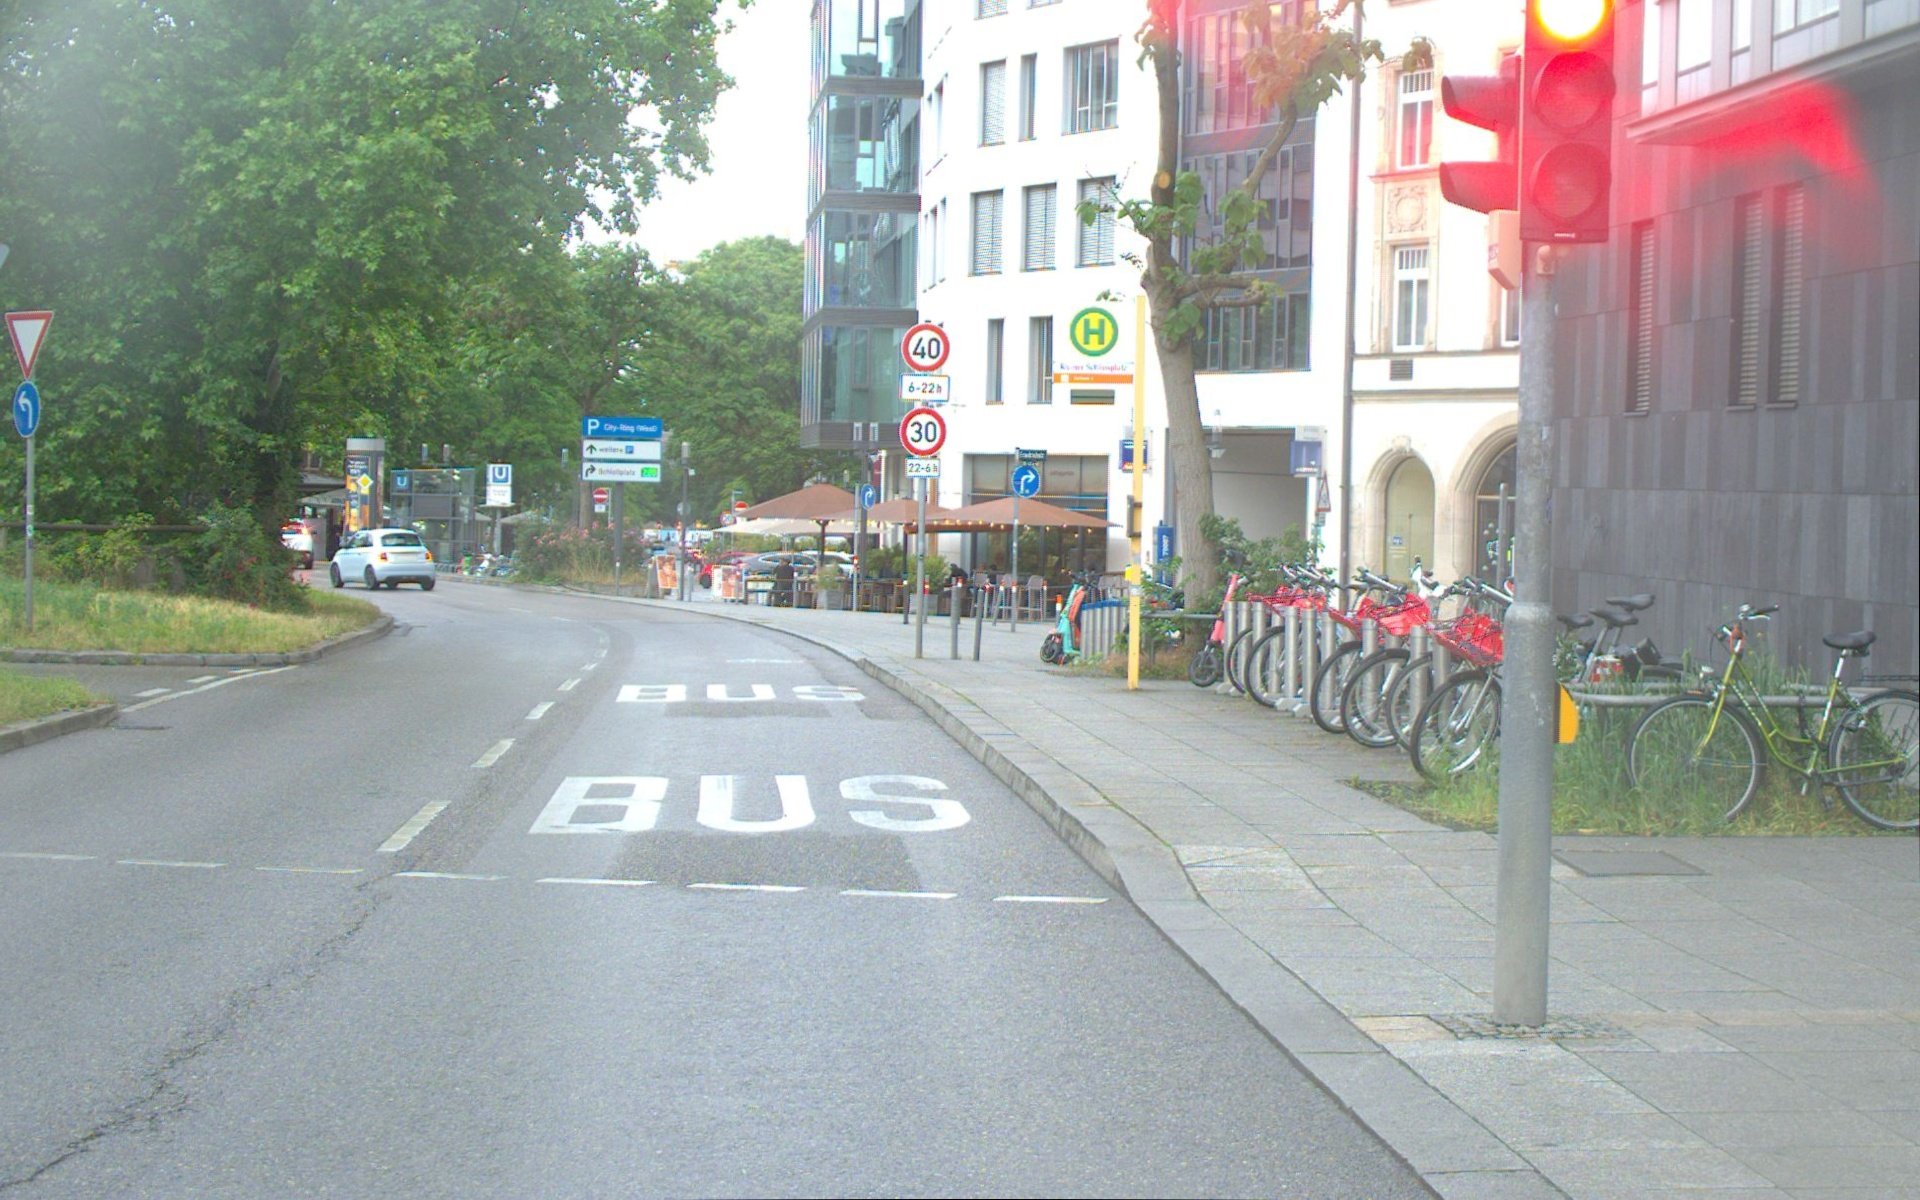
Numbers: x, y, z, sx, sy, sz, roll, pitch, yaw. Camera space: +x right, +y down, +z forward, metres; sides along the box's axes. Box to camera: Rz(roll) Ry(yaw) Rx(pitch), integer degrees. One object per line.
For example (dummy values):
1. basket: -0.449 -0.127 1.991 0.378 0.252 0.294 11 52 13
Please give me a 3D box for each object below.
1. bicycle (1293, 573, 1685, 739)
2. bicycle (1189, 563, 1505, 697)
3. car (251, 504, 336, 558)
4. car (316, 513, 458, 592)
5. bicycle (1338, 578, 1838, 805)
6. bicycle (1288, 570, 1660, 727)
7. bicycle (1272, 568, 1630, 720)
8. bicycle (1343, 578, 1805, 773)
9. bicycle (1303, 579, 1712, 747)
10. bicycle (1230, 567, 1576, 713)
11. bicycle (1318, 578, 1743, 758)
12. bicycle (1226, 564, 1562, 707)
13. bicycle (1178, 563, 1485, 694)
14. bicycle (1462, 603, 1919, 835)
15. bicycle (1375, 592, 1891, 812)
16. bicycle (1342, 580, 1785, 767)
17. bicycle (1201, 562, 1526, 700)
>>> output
1. bicycle: 3.589 0.377 23.415 2.535 1.083 0.677 1 1 -5
2. bicycle: 3.229 0.244 28.817 2.535 1.083 0.677 1 1 -5
3. car: -21.863 -2.274 112.705 2.178 1.695 4.001 1 1 -19
4. car: -14.526 -1.221 87.022 1.993 1.641 4.001 5 1 -33
5. bicycle: 3.407 0.490 18.749 2.535 1.083 0.677 3 1 -5
6. bicycle: 3.667 0.342 24.611 2.535 1.083 0.677 1 1 -5
7. bicycle: 3.644 0.323 25.590 2.535 1.083 0.677 1 1 -5
8. bicycle: 3.552 0.434 19.974 2.535 1.083 0.677 1 1 -5
9. bicycle: 3.570 0.408 22.506 2.535 1.056 0.677 1 1 -5
10. bicycle: 3.394 0.304 26.429 2.535 1.083 0.677 1 1 -5
11. bicycle: 3.575 0.421 21.640 2.535 1.083 0.677 1 1 -5
12. bicycle: 3.420 0.275 27.181 2.535 1.083 0.677 1 1 -5
13. bicycle: 3.185 0.240 29.539 2.535 1.083 0.627 1 1 -5
14. bicycle: 3.739 0.564 16.469 2.535 1.053 0.677 1 1 -5
15. bicycle: 3.494 0.524 17.946 2.535 1.083 0.677 1 1 -5
16. bicycle: 3.641 0.440 20.829 2.535 1.083 0.677 1 1 -5
17. bicycle: 3.286 0.246 28.069 2.535 1.083 0.677 1 1 -5
